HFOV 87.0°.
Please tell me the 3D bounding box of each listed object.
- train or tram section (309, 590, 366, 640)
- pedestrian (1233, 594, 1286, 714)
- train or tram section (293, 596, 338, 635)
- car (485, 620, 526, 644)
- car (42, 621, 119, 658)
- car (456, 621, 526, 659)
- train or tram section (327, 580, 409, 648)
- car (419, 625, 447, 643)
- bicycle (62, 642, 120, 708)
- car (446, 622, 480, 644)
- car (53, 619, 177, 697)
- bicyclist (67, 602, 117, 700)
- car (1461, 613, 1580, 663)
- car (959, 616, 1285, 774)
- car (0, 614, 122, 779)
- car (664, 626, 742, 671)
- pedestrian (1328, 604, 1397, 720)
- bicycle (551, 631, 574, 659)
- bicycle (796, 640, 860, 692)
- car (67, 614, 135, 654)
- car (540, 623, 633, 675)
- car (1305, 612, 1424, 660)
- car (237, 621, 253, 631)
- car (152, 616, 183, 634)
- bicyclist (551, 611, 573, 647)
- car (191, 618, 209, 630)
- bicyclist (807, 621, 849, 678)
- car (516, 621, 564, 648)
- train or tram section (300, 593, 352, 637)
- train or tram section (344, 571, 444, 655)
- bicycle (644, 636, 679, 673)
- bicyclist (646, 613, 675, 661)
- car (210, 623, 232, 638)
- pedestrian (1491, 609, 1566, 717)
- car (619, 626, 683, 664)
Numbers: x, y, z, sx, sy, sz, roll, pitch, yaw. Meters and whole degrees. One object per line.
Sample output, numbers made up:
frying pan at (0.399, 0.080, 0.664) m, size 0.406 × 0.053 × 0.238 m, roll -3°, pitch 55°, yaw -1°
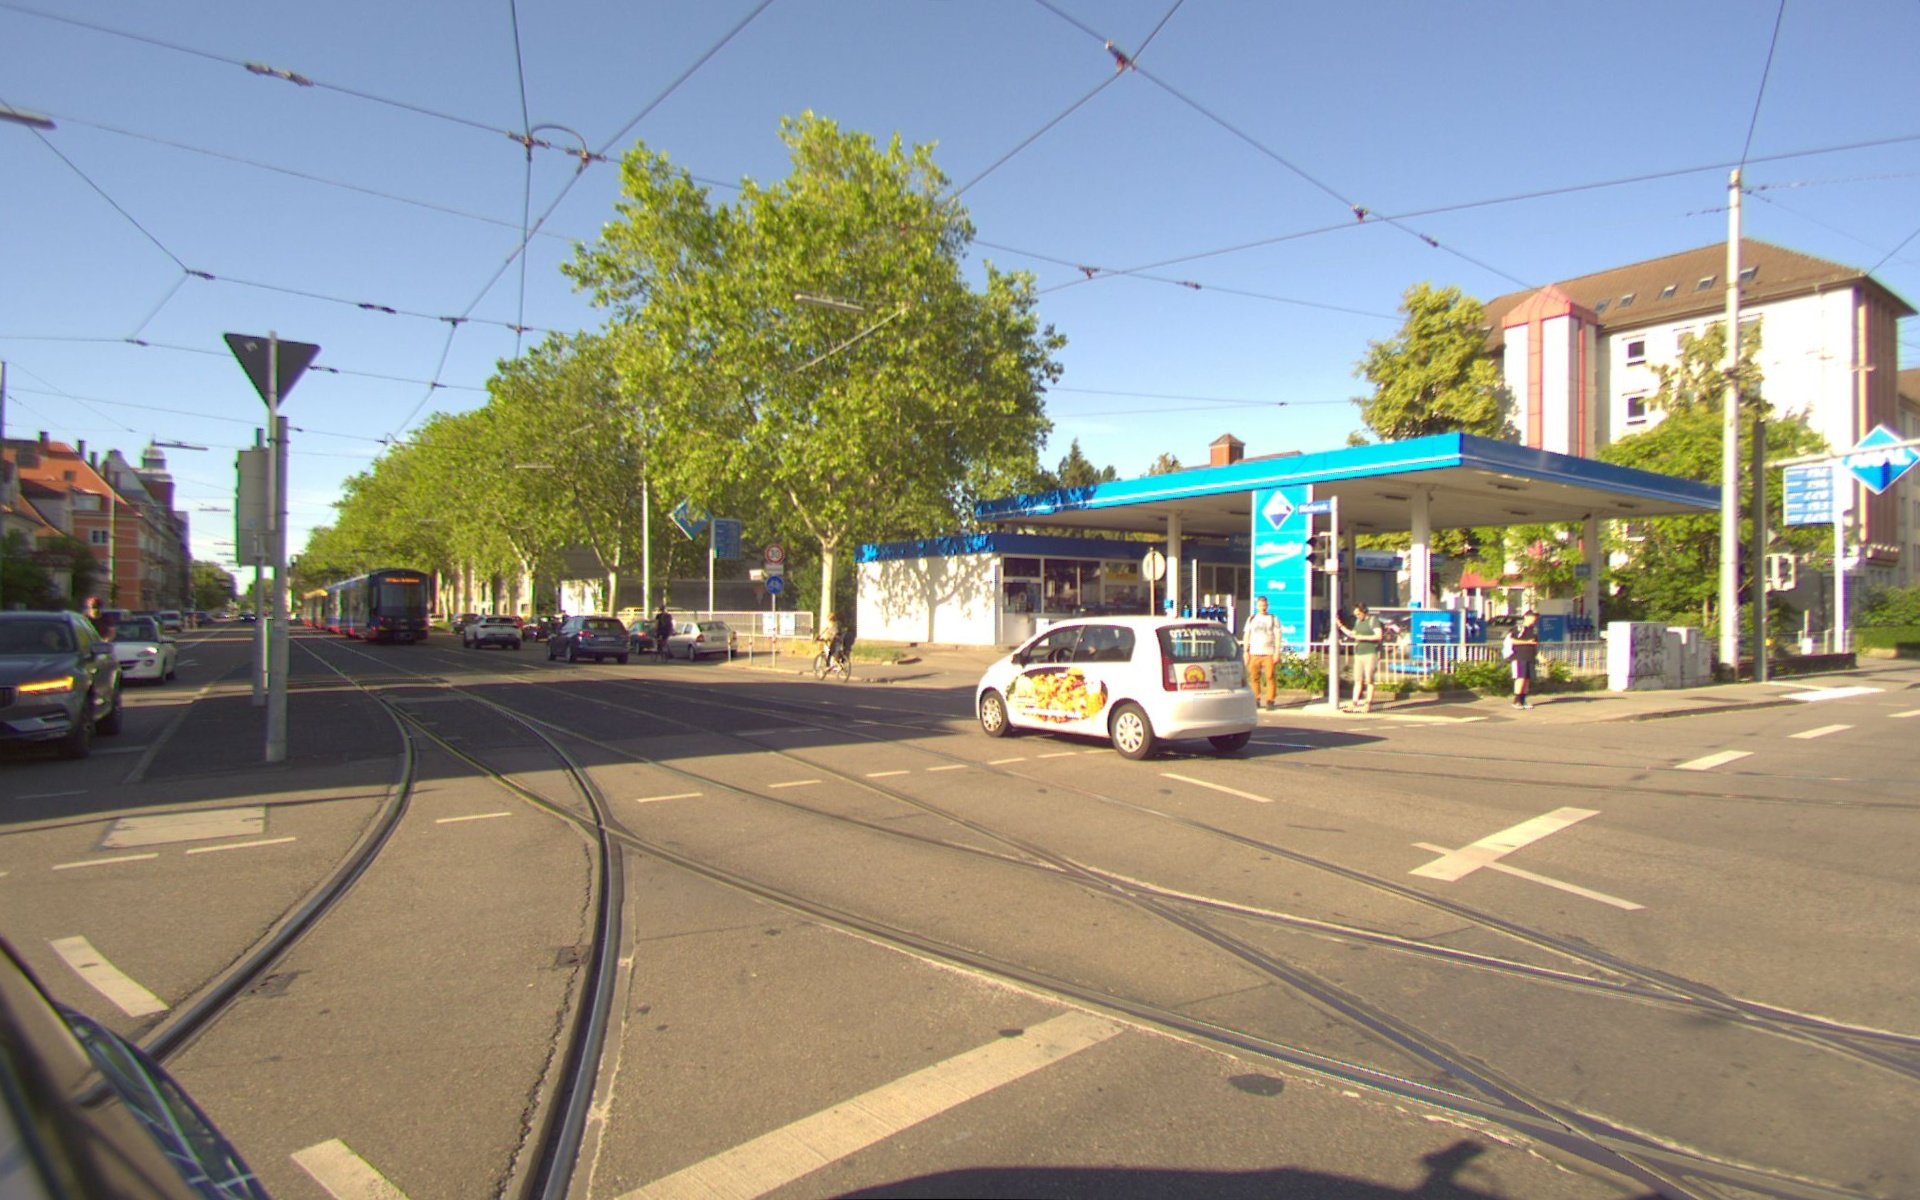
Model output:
train or tram section at (-49.267, 1.208, 79.882) m, size 3.014 × 3.640 × 12.144 m, roll 1°, pitch -1°, yaw -35°
pedestrian at (4.980, 0.877, 16.840) m, size 0.621 × 1.940 × 0.586 m, roll 1°, pitch -1°, yaw -35°
train or tram section at (-63.587, 1.537, 99.753) m, size 3.014 × 3.640 × 12.920 m, roll 1°, pitch -1°, yaw -36°
car at (-29.847, 2.087, 66.392) m, size 1.852 × 1.497 × 4.011 m, roll 1°, pitch -1°, yaw -34°
car at (-38.149, 1.675, 44.003) m, size 1.851 × 1.497 × 4.012 m, roll 1°, pitch -1°, yaw -31°
car at (-20.596, 1.724, 44.363) m, size 1.967 × 1.508 × 4.358 m, roll 5°, pitch -3°, yaw -35°
train or tram section at (-35.166, 0.837, 59.829) m, size 3.014 × 3.640 × 12.532 m, roll 1°, pitch -1°, yaw -35°
car at (-48.835, 3.111, 93.758) m, size 1.852 × 1.563 × 4.011 m, roll 1°, pitch -1°, yaw -34°
bicycle at (-15.587, 1.320, 18.192) m, size 0.590 × 1.064 × 1.995 m, roll 1°, pitch -1°, yaw -35°
car at (-38.967, 2.563, 79.338) m, size 1.852 × 1.588 × 4.011 m, roll 1°, pitch -1°, yaw -34°
car at (-19.601, 1.260, 23.651) m, size 1.887 × 1.643 × 4.513 m, roll 1°, pitch -1°, yaw -36°
bicyclist at (-15.592, 0.900, 18.192) m, size 0.590 × 1.732 × 0.664 m, roll 1°, pitch -1°, yaw -35°
car at (17.935, 1.161, 32.309) m, size 4.149 × 1.497 × 1.721 m, roll 1°, pitch -1°, yaw -36°
car at (1.692, 0.940, 11.603) m, size 1.695 × 1.508 × 3.593 m, roll 1°, pitch -1°, yaw -34°
car at (-11.169, 0.986, 11.725) m, size 1.887 × 1.643 × 4.514 m, roll 1°, pitch -1°, yaw -35°
car at (-9.466, 1.743, 37.128) m, size 1.750 × 1.435 × 3.548 m, roll -3°, pitch 1°, yaw -31°
pedestrian at (6.492, 0.979, 16.354) m, size 0.730 × 1.815 × 0.743 m, roll 0°, pitch -1°, yaw -11°
bicycle at (-17.617, 1.995, 44.797) m, size 0.478 × 1.175 × 2.061 m, roll 1°, pitch -1°, yaw -35°
bicycle at (-3.209, 1.566, 24.405) m, size 0.479 × 1.175 × 1.960 m, roll 1°, pitch -1°, yaw -43°
car at (-41.303, 1.594, 48.763) m, size 1.902 × 1.859 × 5.327 m, roll 1°, pitch -1°, yaw -34°
car at (-11.845, 1.484, 31.897) m, size 1.749 × 1.508 × 4.585 m, roll 1°, pitch -1°, yaw -33°
car at (13.484, 1.162, 33.646) m, size 4.149 × 1.497 × 1.721 m, roll 1°, pitch -1°, yaw -36°
car at (-107.449, 3.920, 152.014) m, size 1.852 × 1.497 × 4.009 m, roll 1°, pitch -1°, yaw -37°
car at (-65.612, 2.046, 83.835) m, size 1.852 × 1.497 × 4.009 m, roll 1°, pitch -1°, yaw -37°
bicyclist at (-17.667, 1.269, 44.923) m, size 0.705 × 1.571 × 0.989 m, roll 1°, pitch -1°, yaw -35°
car at (-101.204, 3.200, 134.722) m, size 1.852 × 1.497 × 4.009 m, roll 1°, pitch -1°, yaw -37°
bicyclist at (-3.176, 1.177, 24.396) m, size 0.596 × 1.350 × 0.898 m, roll 1°, pitch -1°, yaw -44°
car at (-24.415, 1.988, 58.759) m, size 1.852 × 1.497 × 4.011 m, roll 1°, pitch -1°, yaw -34°
train or tram section at (-56.277, 1.376, 89.656) m, size 3.015 × 3.640 × 11.977 m, roll 1°, pitch -1°, yaw -36°
train or tram section at (-28.022, 0.678, 49.766) m, size 3.014 × 3.640 × 12.144 m, roll 1°, pitch -1°, yaw -35°
bicycle at (-10.049, 1.802, 34.048) m, size 0.478 × 1.175 × 2.061 m, roll 1°, pitch -1°, yaw -35°
bicyclist at (-10.106, 1.224, 34.109) m, size 0.687 × 1.583 × 0.893 m, roll 1°, pitch -1°, yaw -35°
car at (-76.136, 3.120, 104.257) m, size 1.852 × 1.497 × 4.009 m, roll 1°, pitch -1°, yaw -37°
pedestrian at (9.514, 1.029, 16.947) m, size 0.735 × 1.742 × 0.736 m, roll -2°, pitch 0°, yaw -20°
car at (-13.008, 1.853, 42.539) m, size 1.750 × 1.435 × 3.321 m, roll -3°, pitch 1°, yaw -31°
